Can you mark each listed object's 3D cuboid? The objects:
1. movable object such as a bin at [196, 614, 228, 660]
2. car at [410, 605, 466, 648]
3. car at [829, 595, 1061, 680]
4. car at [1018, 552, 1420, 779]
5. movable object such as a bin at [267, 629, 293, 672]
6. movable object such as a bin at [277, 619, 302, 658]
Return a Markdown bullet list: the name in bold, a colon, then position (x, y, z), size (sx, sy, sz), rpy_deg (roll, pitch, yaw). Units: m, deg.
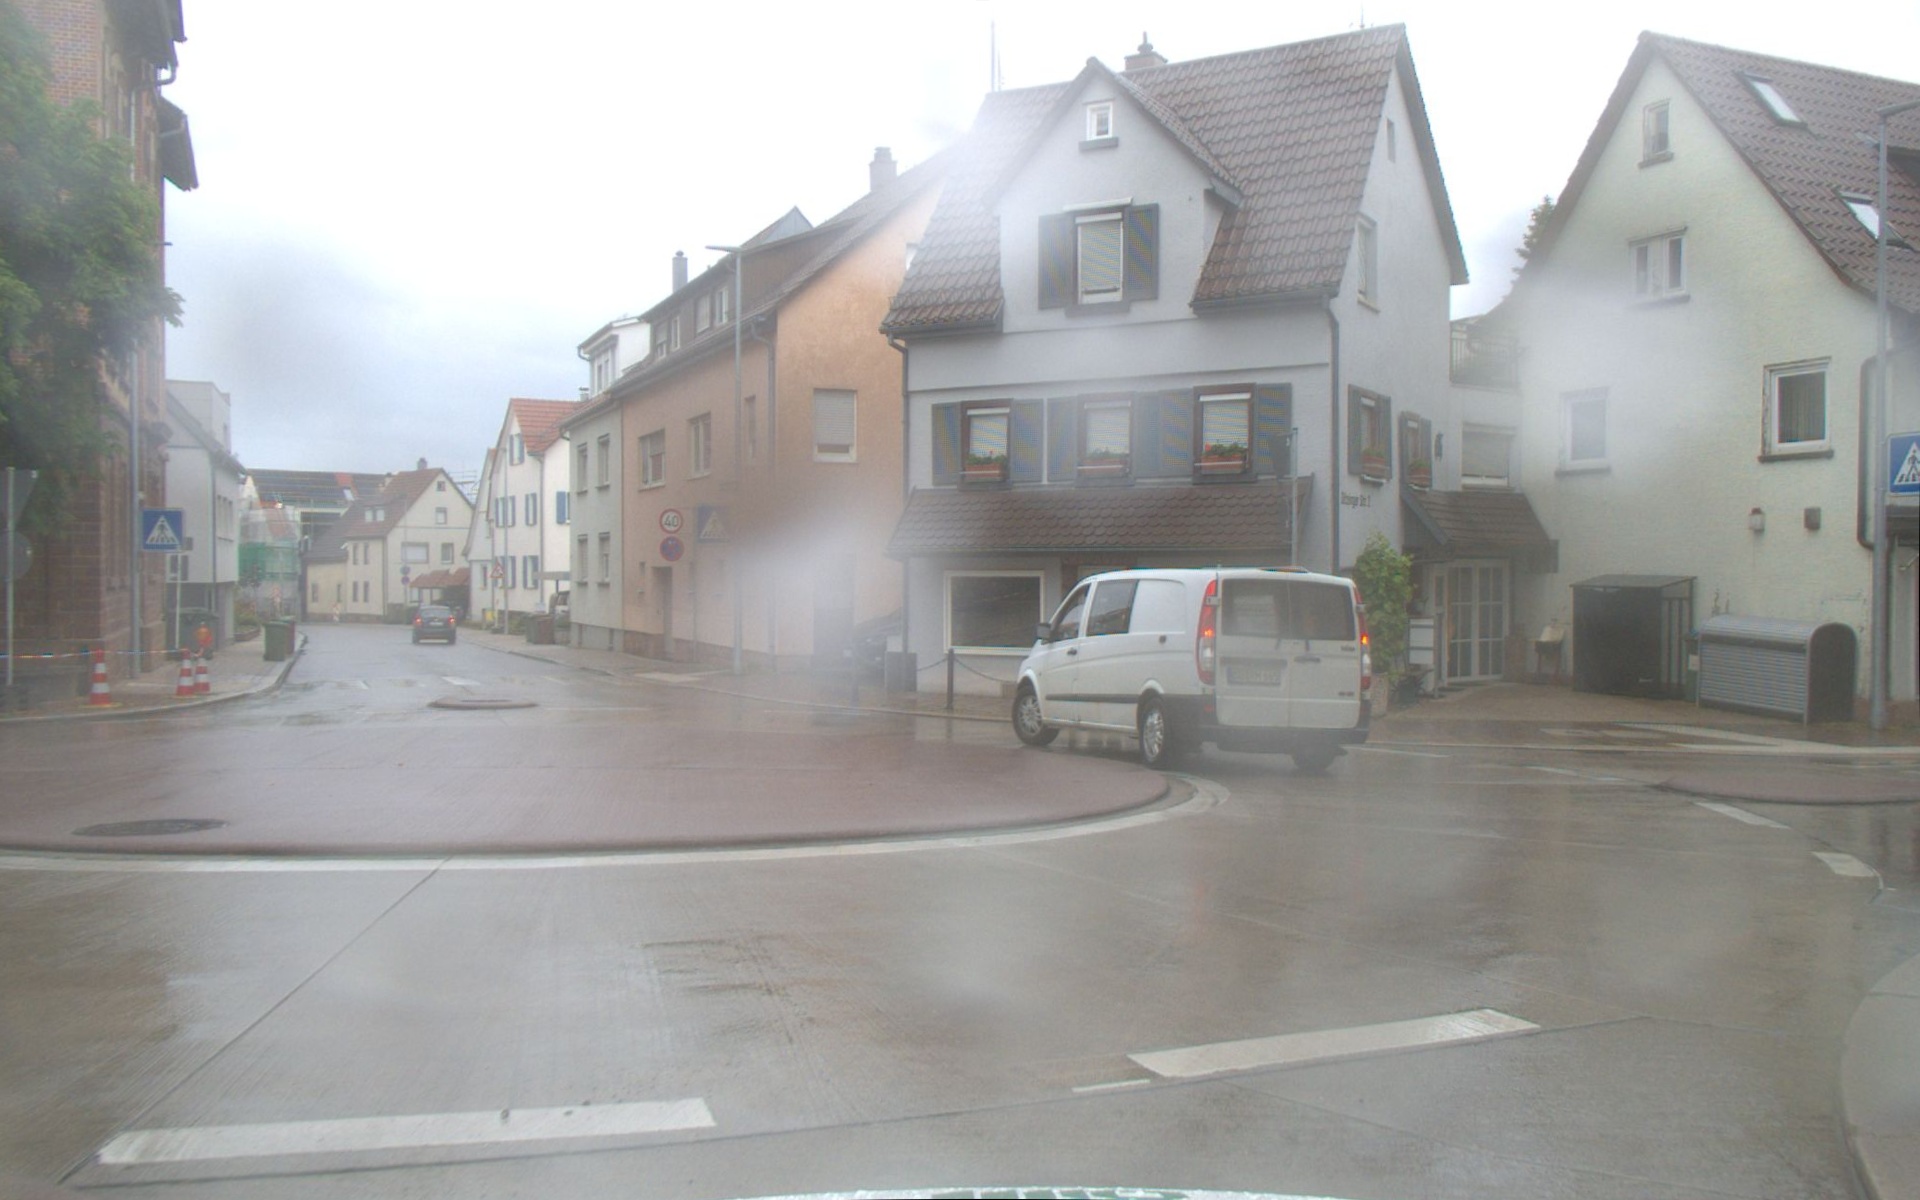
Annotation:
- **movable object such as a bin**: position (-19.984, 0.988, 44.169), size (0.739, 1.189, 0.626), rpy_deg (2, -1, -27)
- **car**: position (-21.127, 1.079, 66.864), size (1.944, 1.709, 4.042), rpy_deg (0, -1, -21)
- **car**: position (-0.283, 0.704, 31.147), size (3.940, 1.512, 1.982), rpy_deg (1, -1, -28)
- **car**: position (2.376, 0.605, 16.754), size (2.118, 1.932, 4.901), rpy_deg (0, -1, -17)
- **movable object such as a bin**: position (-19.081, 1.407, 46.394), size (0.618, 1.193, 0.755), rpy_deg (2, -1, -25)
- **movable object such as a bin**: position (-20.734, 1.193, 51.131), size (0.646, 1.189, 0.775), rpy_deg (2, -1, -25)
